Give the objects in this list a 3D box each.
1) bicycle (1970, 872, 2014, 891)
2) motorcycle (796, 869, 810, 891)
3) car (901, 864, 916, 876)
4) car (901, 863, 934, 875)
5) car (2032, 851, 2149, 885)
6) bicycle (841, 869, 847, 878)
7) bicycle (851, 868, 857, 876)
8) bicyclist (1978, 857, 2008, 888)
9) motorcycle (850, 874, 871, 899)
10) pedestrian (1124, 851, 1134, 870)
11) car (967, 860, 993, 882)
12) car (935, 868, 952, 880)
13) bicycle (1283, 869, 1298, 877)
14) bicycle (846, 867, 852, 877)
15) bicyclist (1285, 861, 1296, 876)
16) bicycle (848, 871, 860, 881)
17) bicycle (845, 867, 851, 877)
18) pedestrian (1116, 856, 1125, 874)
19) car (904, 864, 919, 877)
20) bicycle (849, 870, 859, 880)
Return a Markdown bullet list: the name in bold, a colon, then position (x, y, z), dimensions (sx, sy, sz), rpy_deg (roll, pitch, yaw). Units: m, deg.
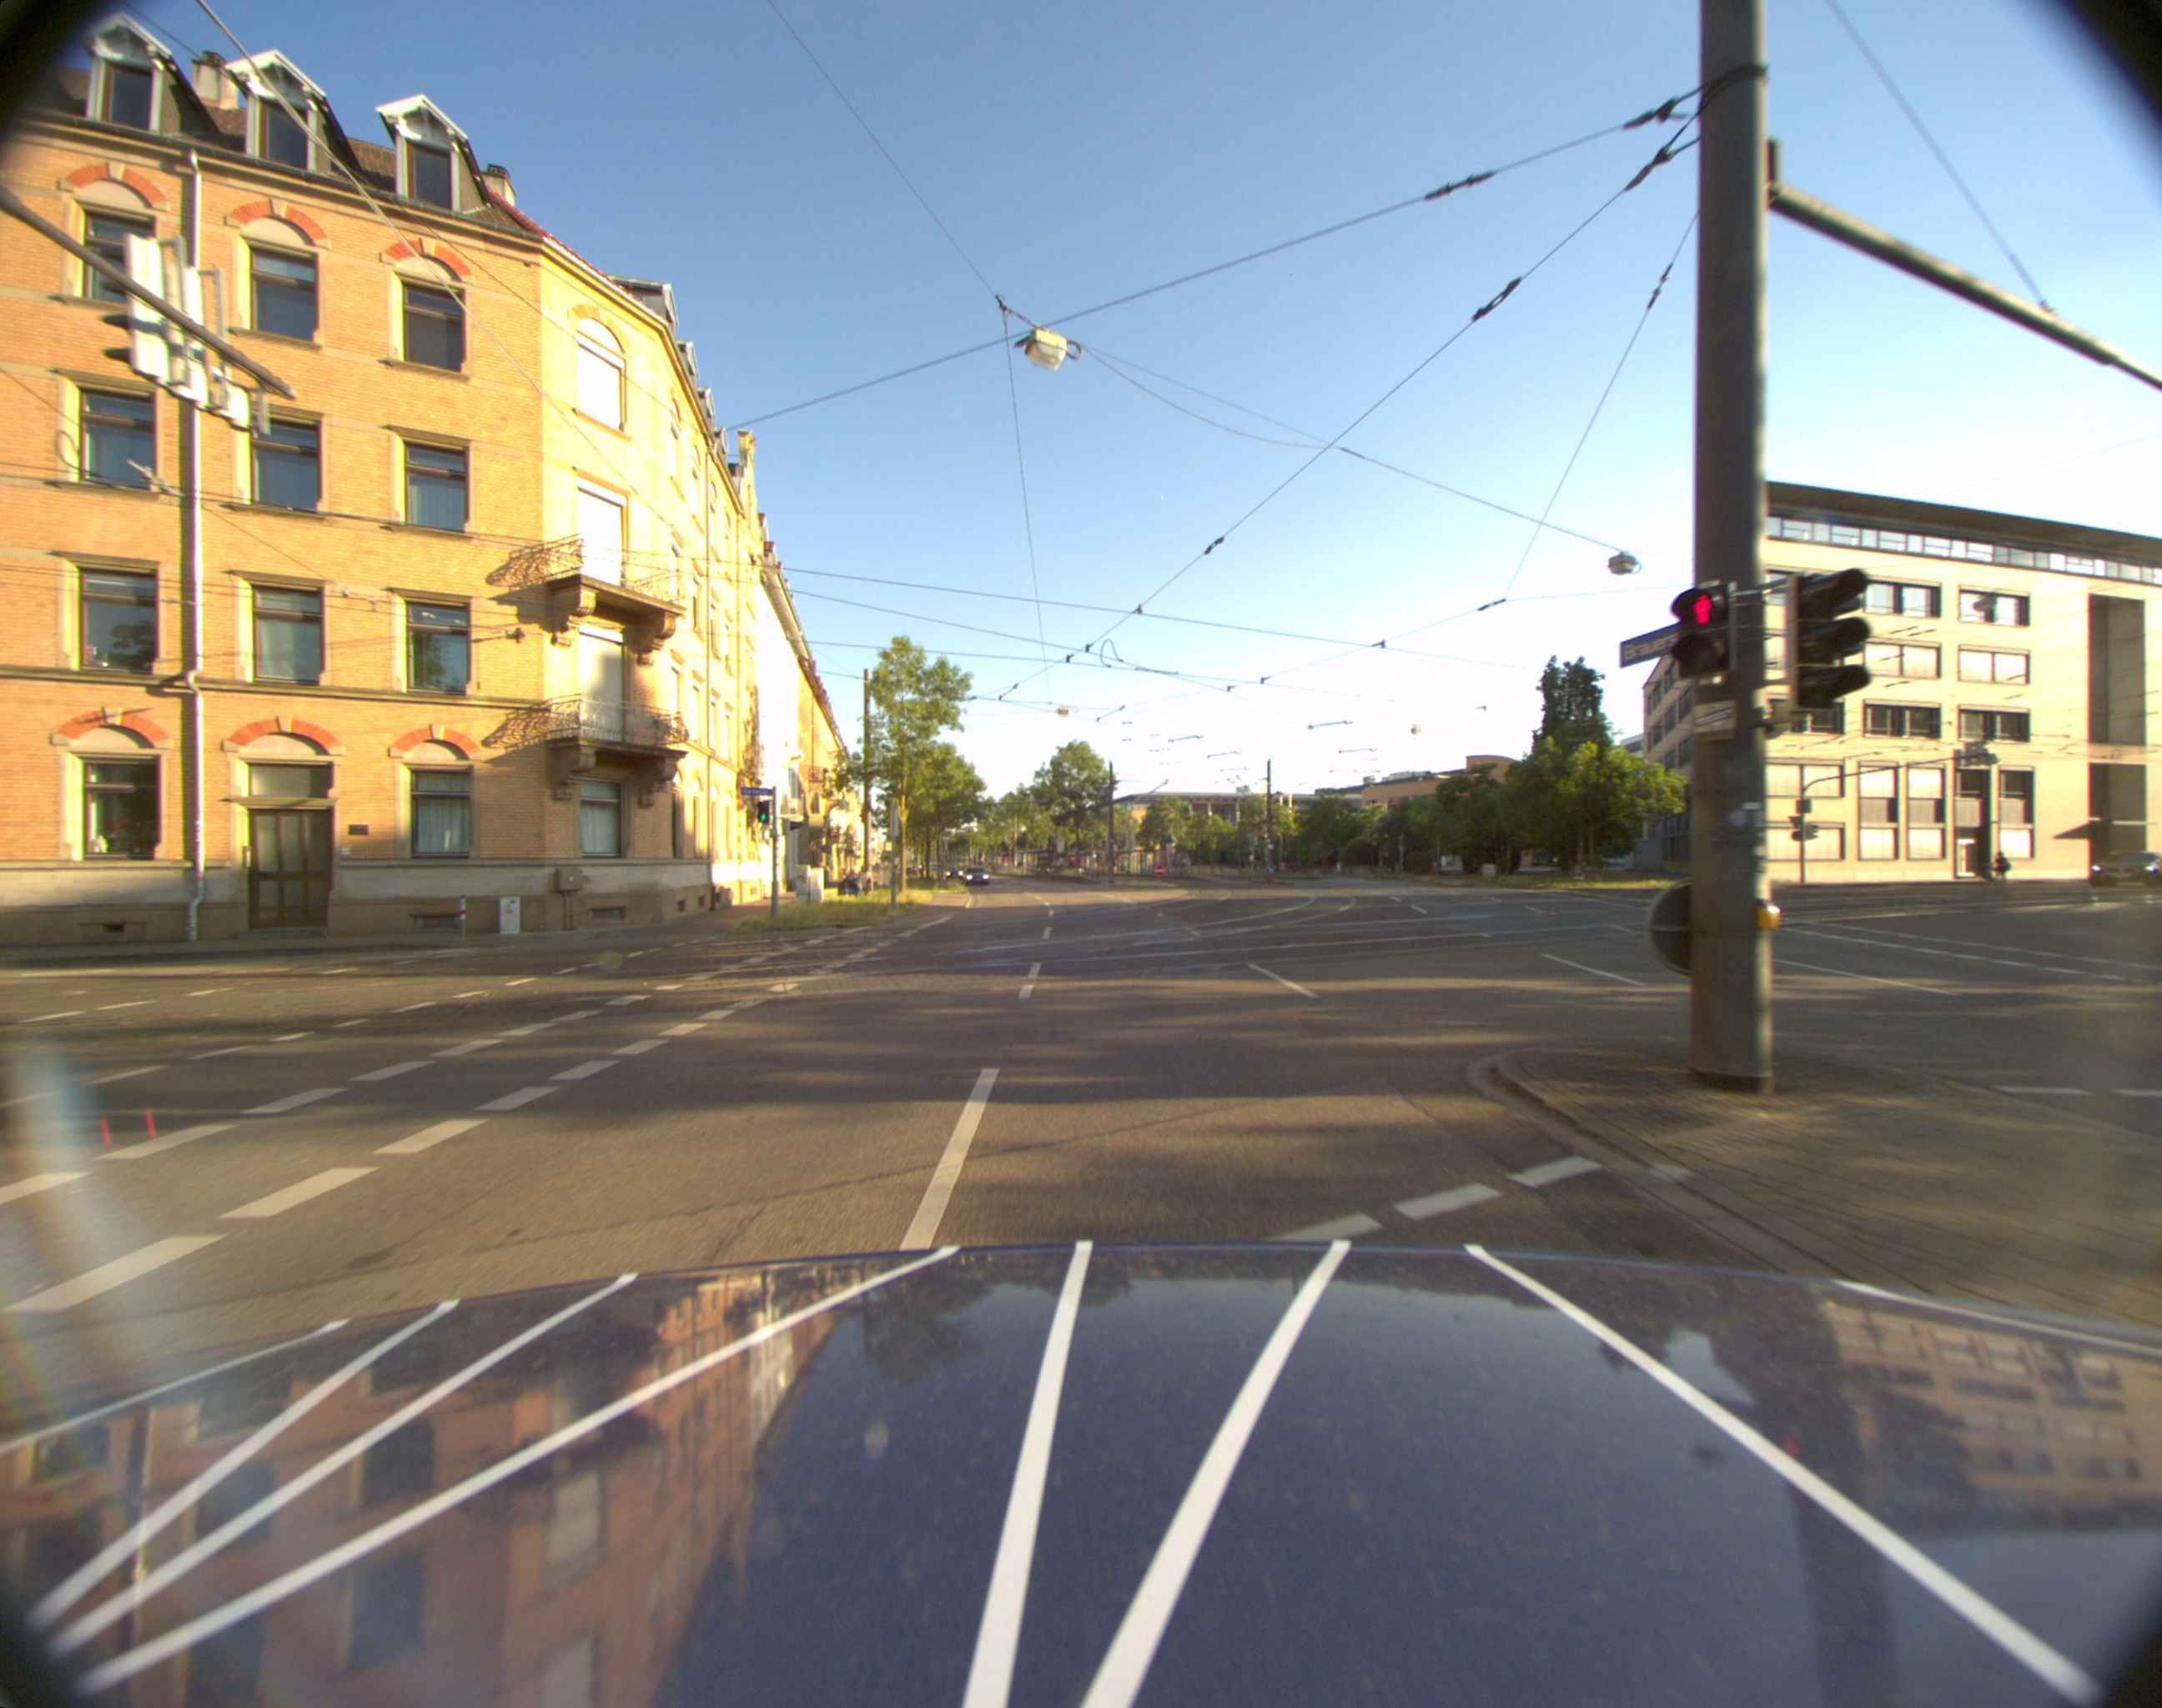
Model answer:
- **bicycle**: position (43.768, 1.315, 36.501), dimensions (1.692, 0.828, 0.657), rpy_deg (0, 0, -13)
- **motorcycle**: position (-16.247, 1.530, 44.450), dimensions (0.555, 1.207, 2.070), rpy_deg (-2, 0, -15)
- **car**: position (-23.886, 2.217, 105.069), dimensions (1.952, 1.436, 4.903), rpy_deg (-3, 0, -14)
- **car**: position (-24.191, 2.213, 112.533), dimensions (4.332, 1.562, 2.004), rpy_deg (-3, -1, 19)
- **car**: position (46.444, 0.628, 34.989), dimensions (4.003, 1.477, 1.997), rpy_deg (-1, 0, -17)
- **bicycle**: position (-25.967, 2.108, 83.391), dimensions (0.485, 0.999, 1.744), rpy_deg (-1, 0, -13)
- **bicycle**: position (-30.998, 2.418, 103.799), dimensions (0.574, 1.067, 1.894), rpy_deg (0, 0, -14)
- **bicyclist**: position (43.813, 0.892, 36.507), dimensions (0.744, 1.444, 0.666), rpy_deg (0, 0, -13)
- **motorcycle**: position (-9.829, 1.419, 33.913), dimensions (0.606, 1.038, 1.743), rpy_deg (-1, 0, -7)
- **pedestrian**: position (5.337, 0.722, 84.001), dimensions (0.772, 2.002, 1.126), rpy_deg (-1, 0, -11)
- **car**: position (-7.988, 1.319, 60.489), dimensions (2.000, 1.655, 3.998), rpy_deg (-1, 0, -7)
- **car**: position (-18.923, 2.733, 104.777), dimensions (2.000, 1.655, 3.998), rpy_deg (-1, 0, -7)
- **bicycle**: position (21.729, 1.981, 78.787), dimensions (0.777, 0.816, 1.964), rpy_deg (-1, 0, -11)
- **bicycle**: position (-27.995, 2.156, 91.660), dimensions (0.485, 1.158, 1.744), rpy_deg (4, -1, -13)
- **bicyclist**: position (21.720, 1.501, 78.731), dimensions (0.770, 1.459, 0.827), rpy_deg (-1, 0, -11)
- **bicycle**: position (-21.838, 2.143, 73.113), dimensions (0.875, 0.910, 2.082), rpy_deg (1, 0, -12)
- **bicycle**: position (-27.560, 2.094, 89.809), dimensions (0.485, 1.158, 1.744), rpy_deg (4, -1, -13)
- **pedestrian**: position (4.400, 1.190, 84.697), dimensions (0.772, 2.002, 1.126), rpy_deg (-1, 0, -11)
- **car**: position (-20.203, 1.963, 90.547), dimensions (1.710, 1.440, 4.284), rpy_deg (-4, 0, -13)
- **bicycle**: position (-22.560, 2.040, 75.566), dimensions (0.736, 0.942, 2.337), rpy_deg (1, 0, -10)
